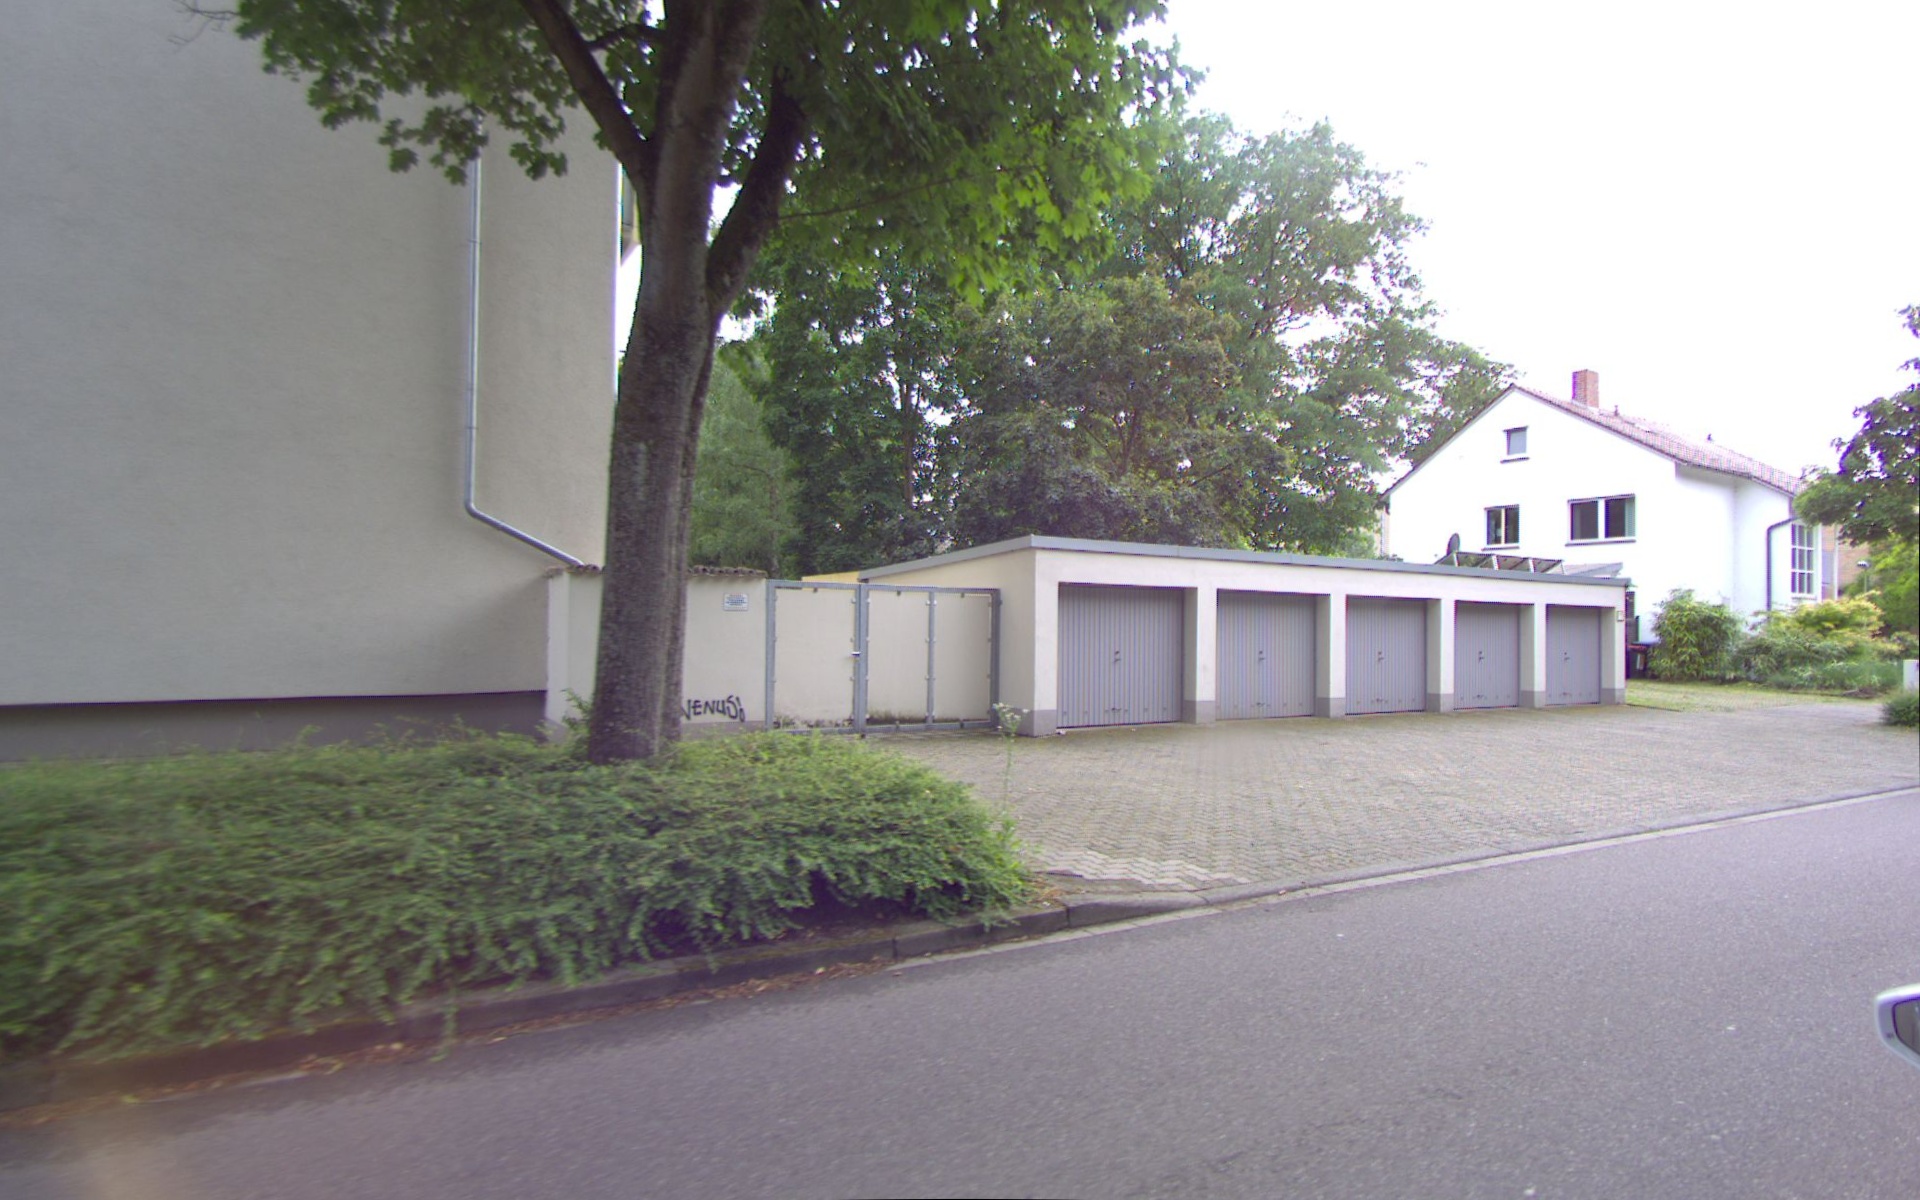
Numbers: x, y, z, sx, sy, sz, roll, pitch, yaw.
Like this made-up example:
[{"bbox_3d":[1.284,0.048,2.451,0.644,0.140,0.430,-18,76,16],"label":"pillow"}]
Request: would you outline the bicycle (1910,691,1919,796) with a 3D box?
[{"bbox_3d":[10.945,1.469,10.477,2.533,1.039,0.791,1,-2,-30],"label":"bicycle"}]
